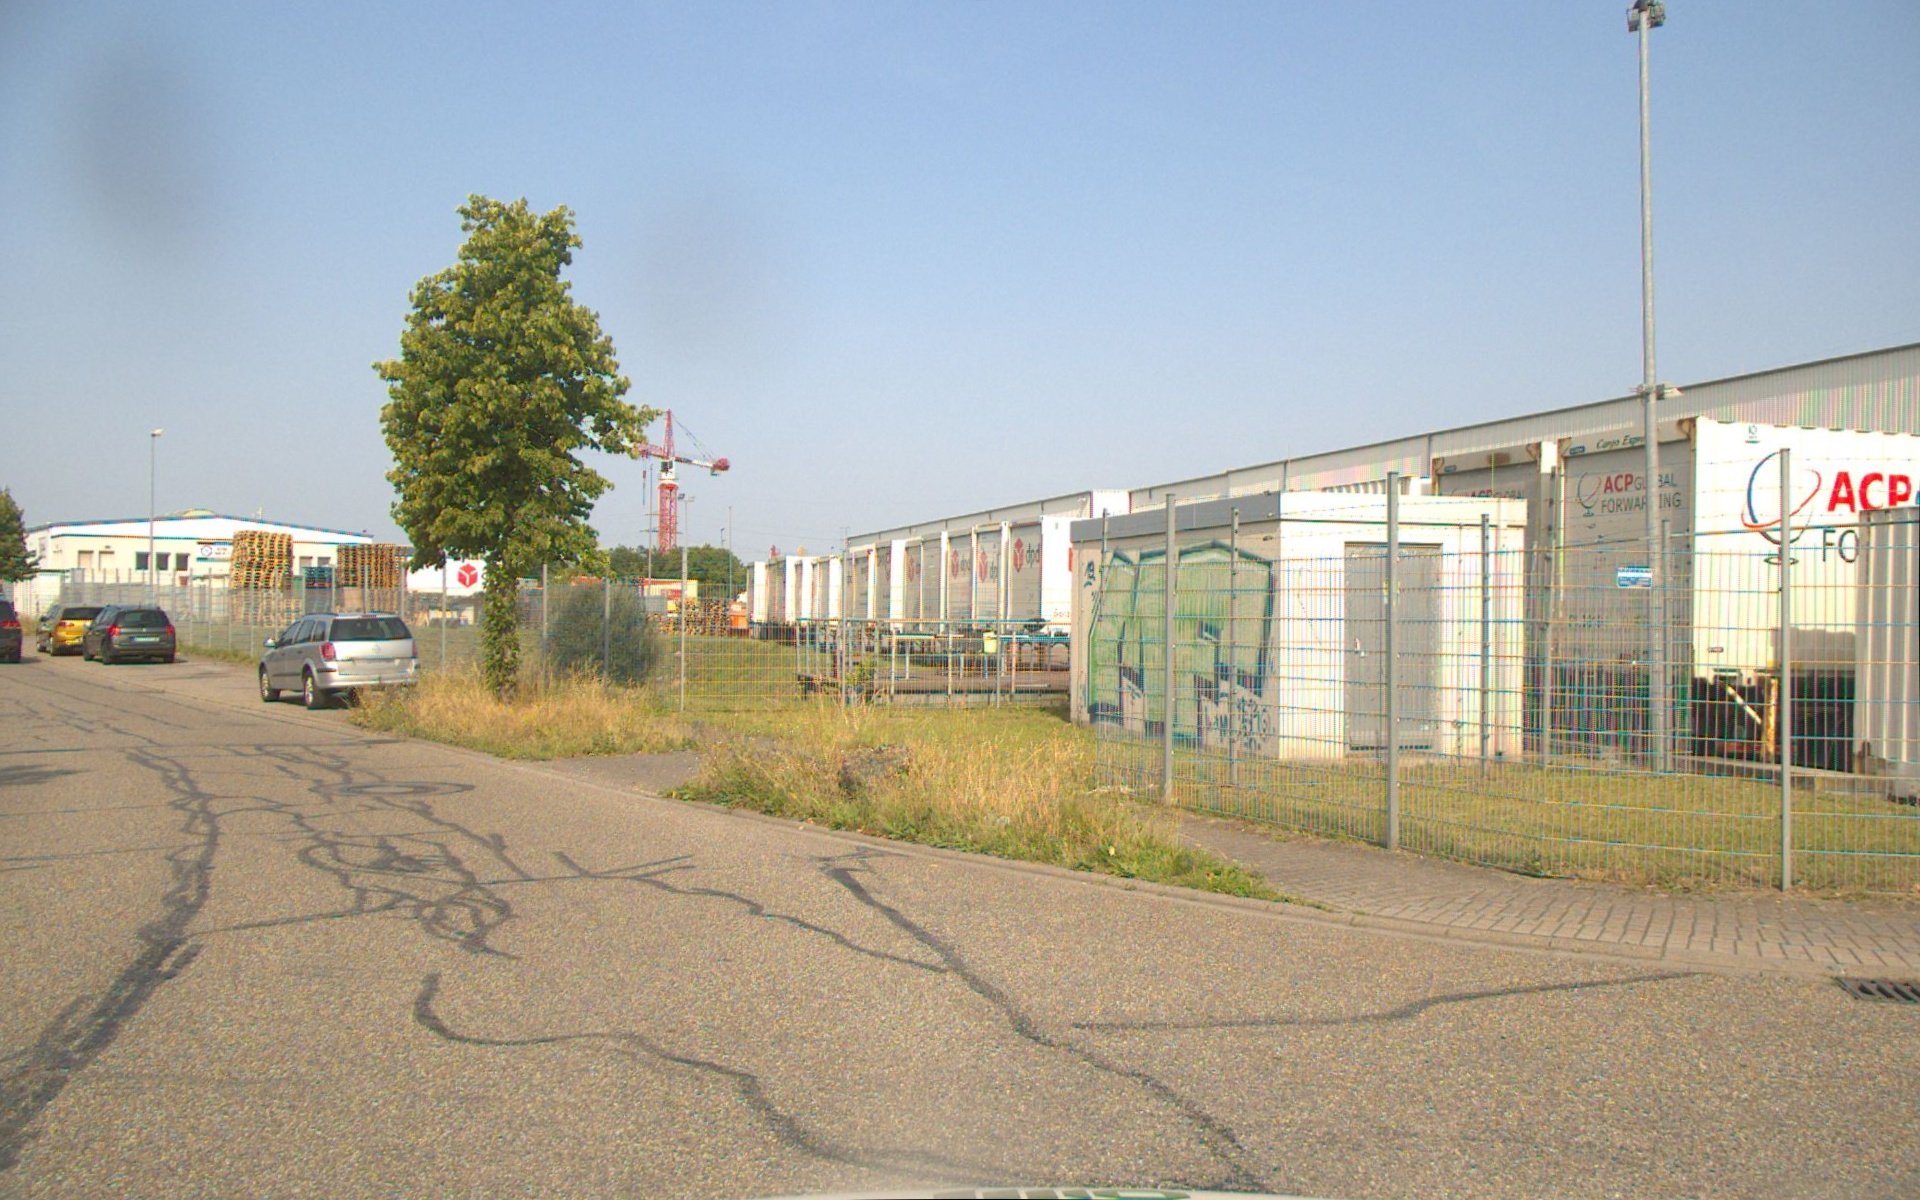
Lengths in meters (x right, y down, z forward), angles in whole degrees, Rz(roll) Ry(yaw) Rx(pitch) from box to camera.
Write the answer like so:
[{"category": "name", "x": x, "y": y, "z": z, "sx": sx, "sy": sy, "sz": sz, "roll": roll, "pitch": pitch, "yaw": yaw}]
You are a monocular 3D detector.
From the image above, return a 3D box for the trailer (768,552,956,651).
[{"category": "trailer", "x": -4.417, "y": 0.095, "z": 74.470, "sx": 7.840, "sy": 3.961, "sz": 2.762, "roll": 3, "pitch": -1, "yaw": -18}]

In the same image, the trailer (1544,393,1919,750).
[{"category": "trailer", "x": 11.807, "y": -0.180, "z": 20.786, "sx": 8.396, "sy": 3.962, "sz": 2.763, "roll": 1, "pitch": -3, "yaw": -16}]

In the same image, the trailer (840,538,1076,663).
[{"category": "trailer", "x": -0.082, "y": 0.047, "z": 58.969, "sx": 7.840, "sy": 3.961, "sz": 2.762, "roll": 3, "pitch": -1, "yaw": -18}]

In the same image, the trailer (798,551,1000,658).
[{"category": "trailer", "x": -2.538, "y": 0.212, "z": 68.821, "sx": 7.840, "sy": 3.961, "sz": 2.762, "roll": 3, "pitch": -1, "yaw": -18}]

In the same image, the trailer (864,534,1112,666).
[{"category": "trailer", "x": 0.936, "y": 0.028, "z": 56.200, "sx": 7.840, "sy": 3.961, "sz": 2.762, "roll": 3, "pitch": -1, "yaw": -18}]

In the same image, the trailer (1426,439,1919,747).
[{"category": "trailer", "x": 11.120, "y": -0.070, "z": 23.780, "sx": 8.399, "sy": 3.962, "sz": 2.763, "roll": 0, "pitch": 0, "yaw": -17}]

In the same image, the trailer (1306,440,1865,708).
[{"category": "trailer", "x": 10.086, "y": -0.280, "z": 26.642, "sx": 8.596, "sy": 3.827, "sz": 2.776, "roll": 2, "pitch": -1, "yaw": -18}]

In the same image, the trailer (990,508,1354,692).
[{"category": "trailer", "x": 5.227, "y": 0.062, "z": 40.691, "sx": 8.404, "sy": 3.961, "sz": 2.762, "roll": 3, "pitch": -1, "yaw": -18}]

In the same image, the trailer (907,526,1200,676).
[{"category": "trailer", "x": 2.805, "y": 0.060, "z": 49.544, "sx": 8.179, "sy": 3.961, "sz": 2.762, "roll": 3, "pitch": -1, "yaw": -18}]

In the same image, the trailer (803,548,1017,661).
[{"category": "trailer", "x": -1.968, "y": 0.189, "z": 64.951, "sx": 7.840, "sy": 3.961, "sz": 2.762, "roll": 3, "pitch": -1, "yaw": -18}]

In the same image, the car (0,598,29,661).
[{"category": "car", "x": -26.047, "y": 0.758, "z": 43.964, "sx": 1.865, "sy": 1.614, "sz": 4.062, "roll": 1, "pitch": -1, "yaw": -35}]

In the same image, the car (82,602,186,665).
[{"category": "car", "x": -22.031, "y": 0.852, "z": 44.041, "sx": 1.703, "sy": 1.541, "sz": 3.948, "roll": -1, "pitch": 1, "yaw": -38}]

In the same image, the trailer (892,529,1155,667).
[{"category": "trailer", "x": 2.037, "y": -0.029, "z": 53.438, "sx": 7.909, "sy": 3.961, "sz": 2.762, "roll": 3, "pitch": -1, "yaw": -18}]

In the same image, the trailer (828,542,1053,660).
[{"category": "trailer", "x": -0.741, "y": 0.066, "z": 62.034, "sx": 7.840, "sy": 3.961, "sz": 2.762, "roll": 3, "pitch": -1, "yaw": -18}]

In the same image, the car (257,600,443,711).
[{"category": "car", "x": -10.324, "y": 0.855, "z": 27.804, "sx": 1.785, "sy": 1.654, "sz": 4.391, "roll": -1, "pitch": 1, "yaw": -37}]

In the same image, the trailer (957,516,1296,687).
[{"category": "trailer", "x": 4.415, "y": 0.096, "z": 43.718, "sx": 8.404, "sy": 3.961, "sz": 2.762, "roll": 3, "pitch": -1, "yaw": -18}]

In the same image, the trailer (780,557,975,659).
[{"category": "trailer", "x": -3.569, "y": 0.362, "z": 71.354, "sx": 7.840, "sy": 3.961, "sz": 2.762, "roll": 3, "pitch": -1, "yaw": -18}]

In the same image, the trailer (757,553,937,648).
[{"category": "trailer", "x": -5.270, "y": 0.060, "z": 77.262, "sx": 7.840, "sy": 3.961, "sz": 2.762, "roll": 3, "pitch": -1, "yaw": -18}]

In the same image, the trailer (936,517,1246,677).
[{"category": "trailer", "x": 3.694, "y": -0.029, "z": 46.627, "sx": 8.179, "sy": 3.961, "sz": 2.762, "roll": 3, "pitch": -1, "yaw": -18}]

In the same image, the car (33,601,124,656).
[{"category": "car", "x": -25.767, "y": 0.803, "z": 48.293, "sx": 1.702, "sy": 1.480, "sz": 4.131, "roll": -1, "pitch": 1, "yaw": -37}]

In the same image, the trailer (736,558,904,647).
[{"category": "trailer", "x": -7.017, "y": 0.141, "z": 83.008, "sx": 7.840, "sy": 3.961, "sz": 2.729, "roll": 3, "pitch": -1, "yaw": -18}]
